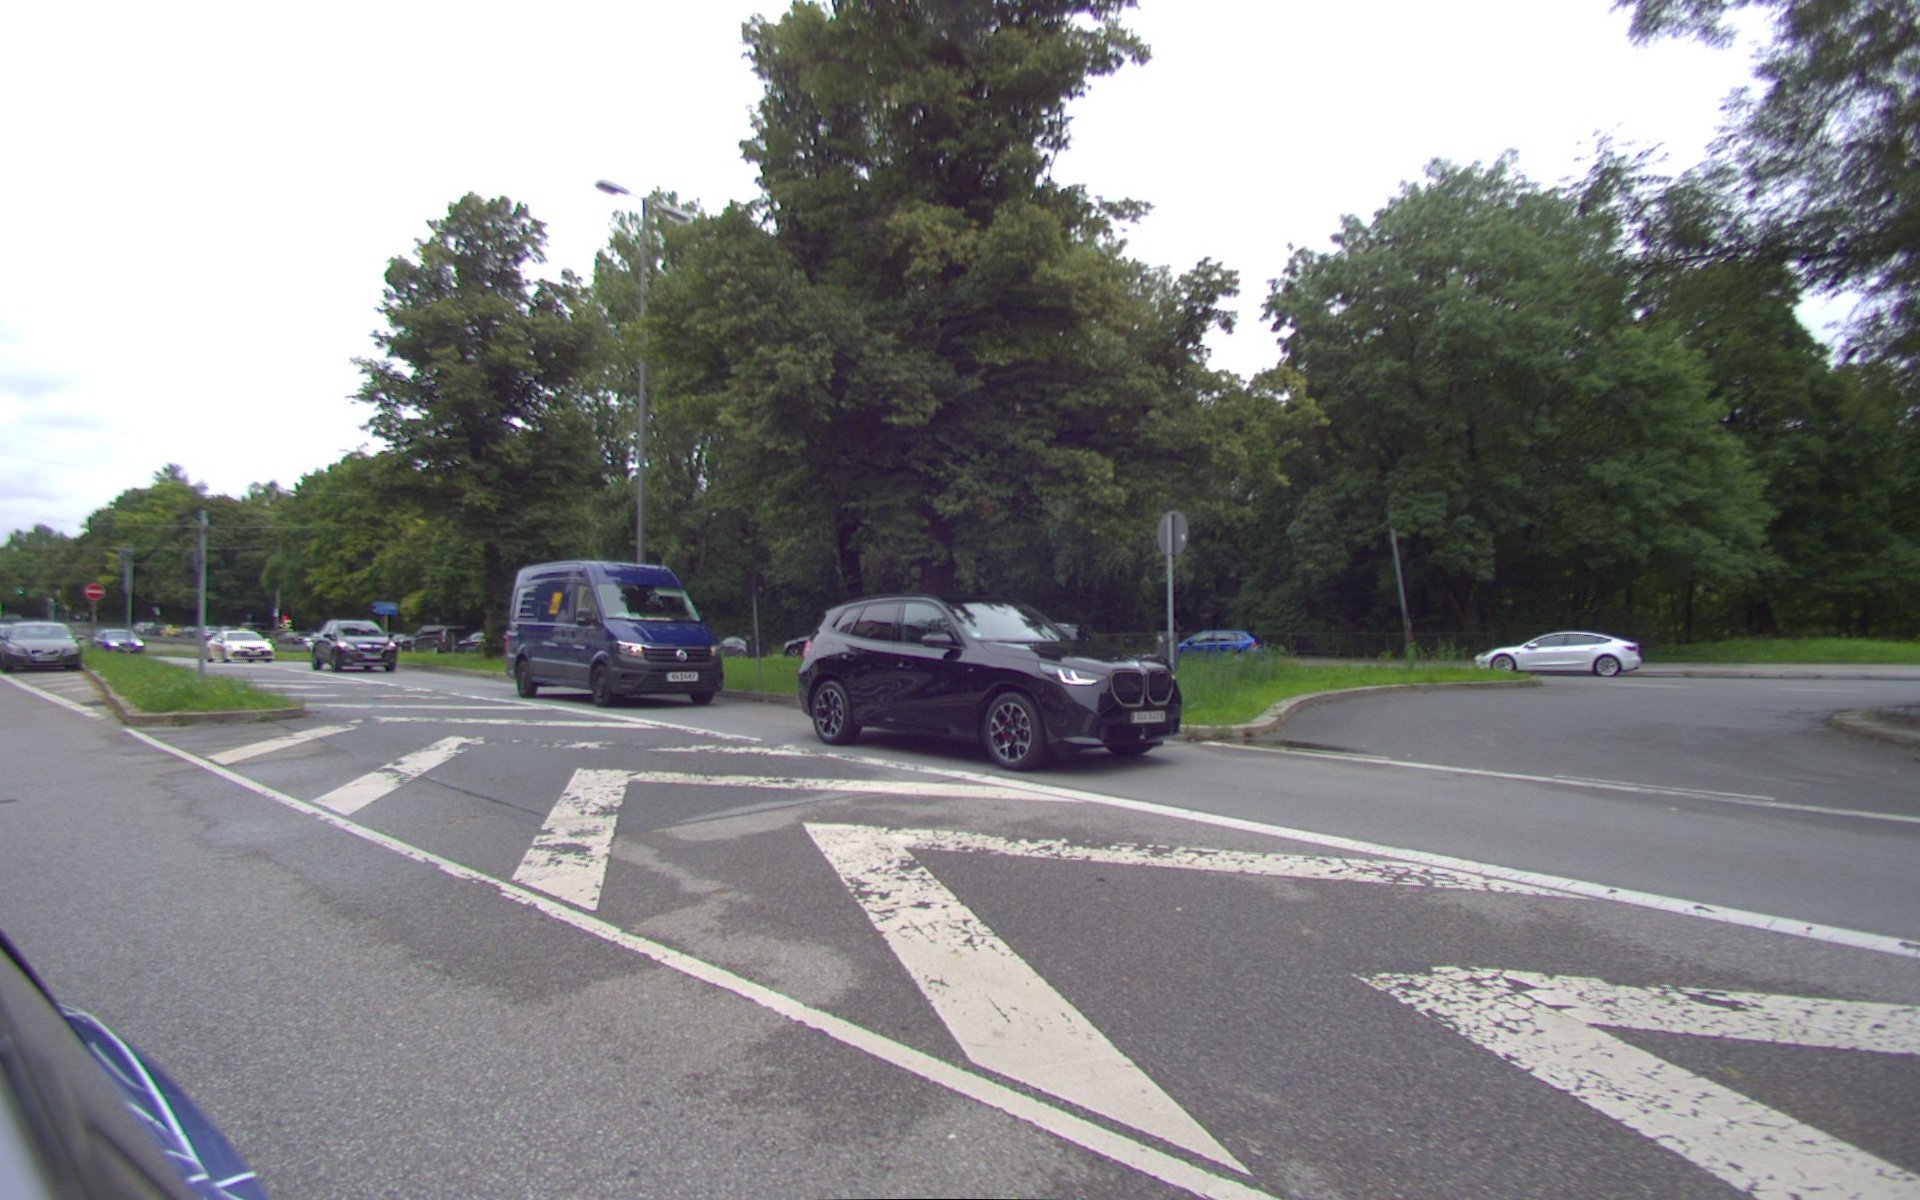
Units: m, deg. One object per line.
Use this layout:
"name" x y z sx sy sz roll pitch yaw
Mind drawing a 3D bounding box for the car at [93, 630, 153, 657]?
"car" -50.546 2.611 61.069 4.268 1.577 1.968 -2 -3 39

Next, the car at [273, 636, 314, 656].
"car" -59.305 4.052 90.068 3.997 1.759 1.973 -2 -2 40

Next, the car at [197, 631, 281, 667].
"car" -32.893 2.194 46.129 4.650 1.577 1.967 -2 -3 40

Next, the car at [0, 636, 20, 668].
"car" -43.701 2.326 45.377 4.279 1.380 1.744 -2 -3 40

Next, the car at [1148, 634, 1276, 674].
"car" 9.665 2.040 38.842 4.405 1.457 1.980 -1 -3 30

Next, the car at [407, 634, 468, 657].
"car" -37.308 3.258 72.221 4.698 1.546 1.975 -2 -4 37

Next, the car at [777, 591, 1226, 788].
"car" 0.173 0.789 10.659 1.890 1.598 4.836 0 -1 -42

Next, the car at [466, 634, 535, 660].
"car" -26.931 2.742 59.251 4.023 1.457 1.875 -2 -3 35

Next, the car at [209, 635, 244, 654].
"car" -73.203 4.429 100.991 3.997 1.759 1.842 -2 -2 40

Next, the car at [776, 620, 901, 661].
"car" -4.525 1.507 37.526 4.371 1.457 1.878 -2 -3 30

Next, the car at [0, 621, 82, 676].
"car" -28.584 1.472 31.309 1.877 1.577 4.774 2 -3 -44

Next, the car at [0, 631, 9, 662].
"car" -48.245 2.265 49.429 4.276 1.467 1.968 -2 -3 37

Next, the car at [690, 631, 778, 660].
"car" -11.707 2.344 52.399 4.517 1.457 1.975 -2 -4 37

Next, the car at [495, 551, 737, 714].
"car" -6.426 0.553 18.393 2.156 2.482 5.861 2 -2 -40

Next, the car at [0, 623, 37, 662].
"car" -40.050 1.771 42.241 4.284 1.577 1.965 -2 -3 44

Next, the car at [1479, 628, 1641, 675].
"car" 19.424 1.669 32.975 4.405 1.457 1.980 -1 -3 30

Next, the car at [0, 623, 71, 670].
"car" -32.712 1.607 35.557 1.964 1.577 4.286 2 -3 -44

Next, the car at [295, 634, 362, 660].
"car" -37.662 2.796 60.370 4.225 1.457 1.812 -2 -4 34

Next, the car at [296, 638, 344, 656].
"car" -54.485 3.995 86.166 4.310 1.457 1.975 -2 -4 36

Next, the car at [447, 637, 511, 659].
"car" -32.303 3.208 67.966 4.517 1.457 1.975 -2 -4 37

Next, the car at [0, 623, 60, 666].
"car" -36.096 1.689 38.752 4.282 1.577 1.966 -2 -3 42

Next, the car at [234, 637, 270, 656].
"car" -67.636 4.376 96.630 3.997 1.759 1.861 -2 -2 40

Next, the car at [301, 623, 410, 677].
"car" -19.849 1.608 33.155 4.273 1.640 1.965 -2 -3 43
